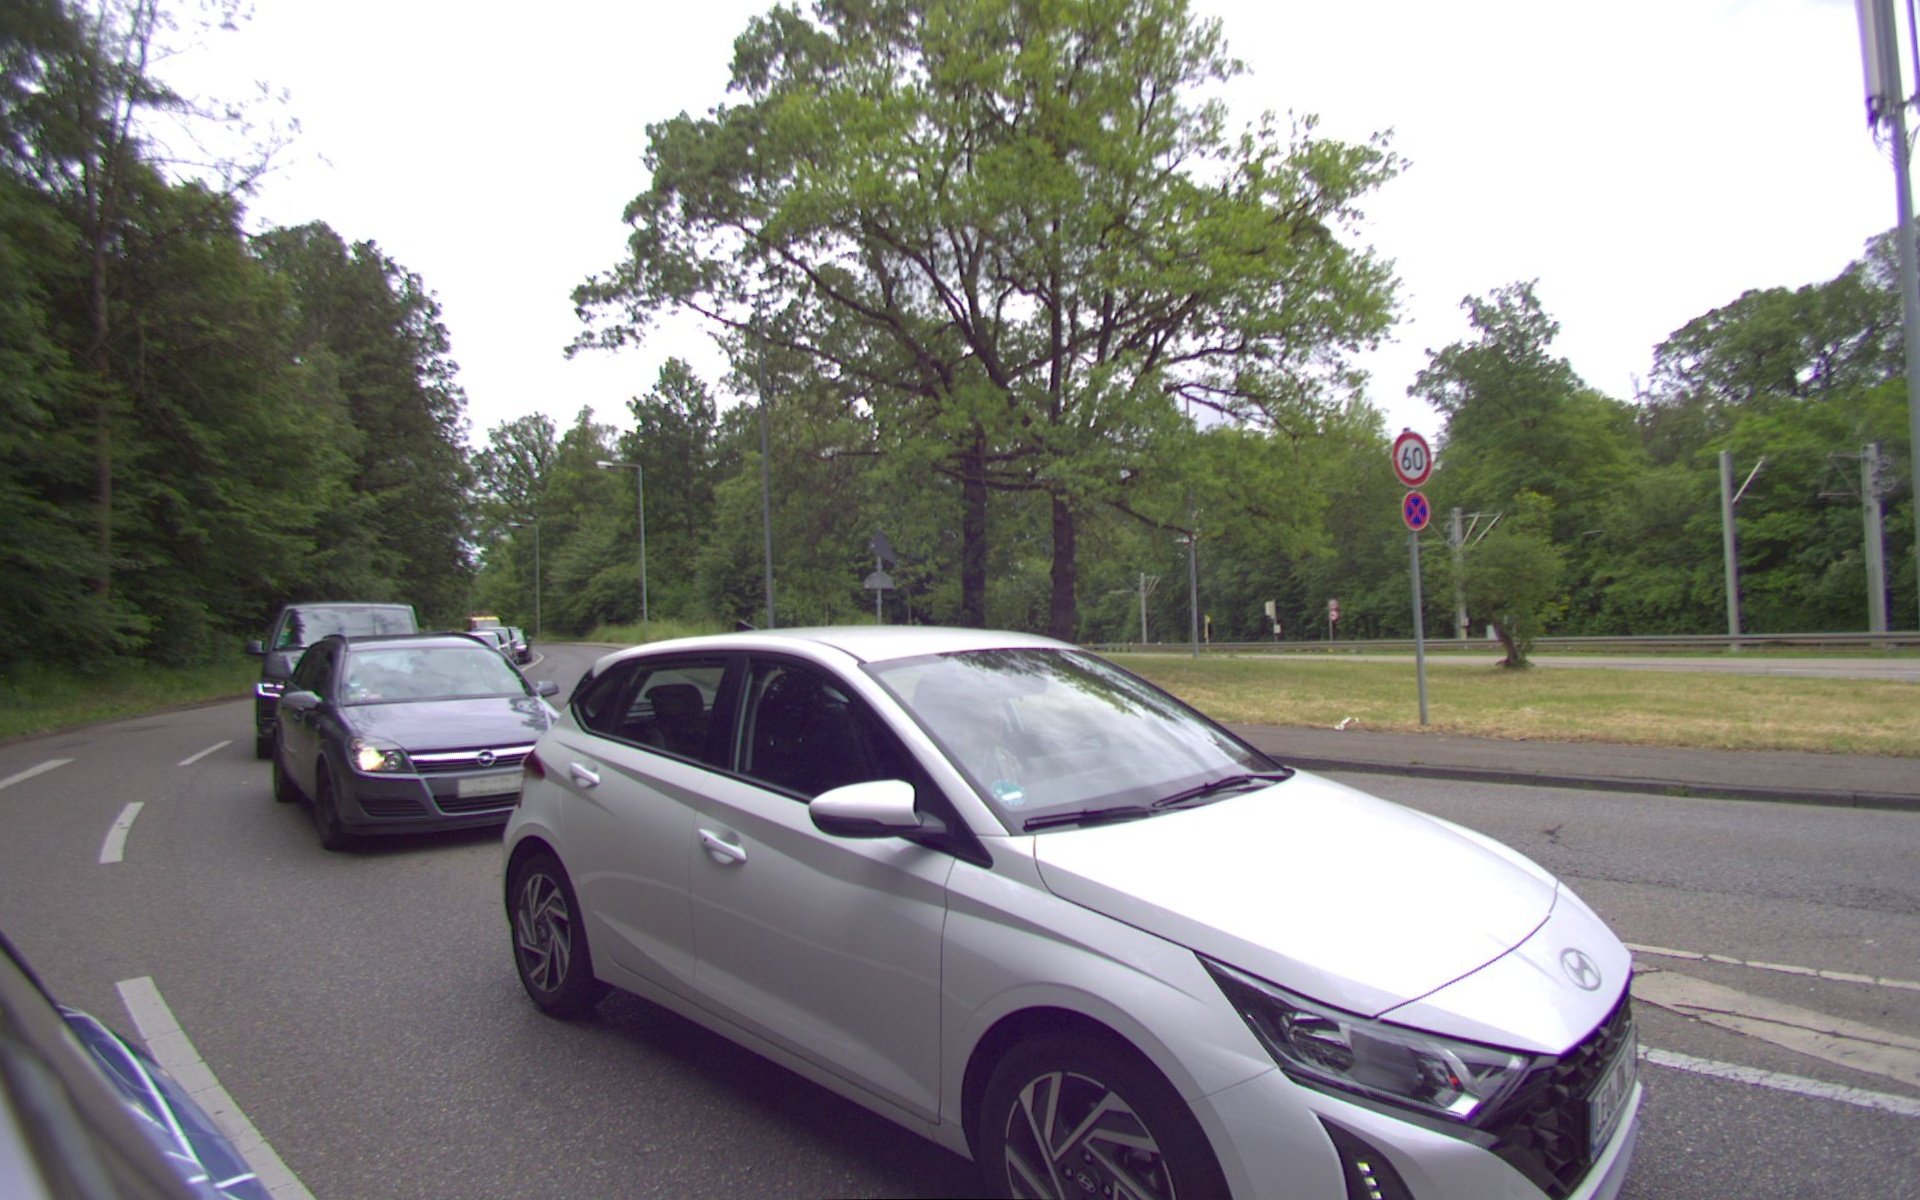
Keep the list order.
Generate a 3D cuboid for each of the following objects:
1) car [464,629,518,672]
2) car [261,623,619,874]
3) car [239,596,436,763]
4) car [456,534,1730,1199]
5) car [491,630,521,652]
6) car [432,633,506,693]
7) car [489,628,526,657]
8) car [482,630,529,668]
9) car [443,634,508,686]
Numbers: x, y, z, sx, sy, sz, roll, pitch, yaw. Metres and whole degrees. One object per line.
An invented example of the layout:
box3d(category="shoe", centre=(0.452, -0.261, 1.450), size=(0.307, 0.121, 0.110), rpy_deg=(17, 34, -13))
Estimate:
box3d(category="car", centre=(-17.769, 1.884, 38.353), size=(1.748, 1.511, 3.885), rpy_deg=(0, -2, -25))
box3d(category="car", centre=(-4.535, 0.986, 8.412), size=(1.775, 1.490, 4.478), rpy_deg=(0, -2, -39))
box3d(category="car", centre=(-8.355, 0.984, 13.981), size=(1.957, 1.887, 4.546), rpy_deg=(0, -2, -27))
box3d(category="car", centre=(-0.066, 0.728, 3.422), size=(4.073, 1.490, 1.631), rpy_deg=(-3, -2, 43))
box3d(category="car", centre=(-31.823, 2.858, 70.982), size=(1.749, 1.511, 3.885), rpy_deg=(-1, -2, -22))
box3d(category="car", centre=(-13.704, 1.714, 28.366), size=(1.748, 1.511, 3.885), rpy_deg=(0, -2, -25))
box3d(category="car", centre=(-25.158, 2.363, 56.383), size=(1.749, 1.511, 3.885), rpy_deg=(-1, -2, -22))
box3d(category="car", centre=(-19.382, 2.067, 43.135), size=(1.748, 1.511, 3.885), rpy_deg=(0, -2, -25))
box3d(category="car", centre=(-15.388, 1.857, 32.228), size=(1.748, 1.511, 3.885), rpy_deg=(0, -2, -25))
